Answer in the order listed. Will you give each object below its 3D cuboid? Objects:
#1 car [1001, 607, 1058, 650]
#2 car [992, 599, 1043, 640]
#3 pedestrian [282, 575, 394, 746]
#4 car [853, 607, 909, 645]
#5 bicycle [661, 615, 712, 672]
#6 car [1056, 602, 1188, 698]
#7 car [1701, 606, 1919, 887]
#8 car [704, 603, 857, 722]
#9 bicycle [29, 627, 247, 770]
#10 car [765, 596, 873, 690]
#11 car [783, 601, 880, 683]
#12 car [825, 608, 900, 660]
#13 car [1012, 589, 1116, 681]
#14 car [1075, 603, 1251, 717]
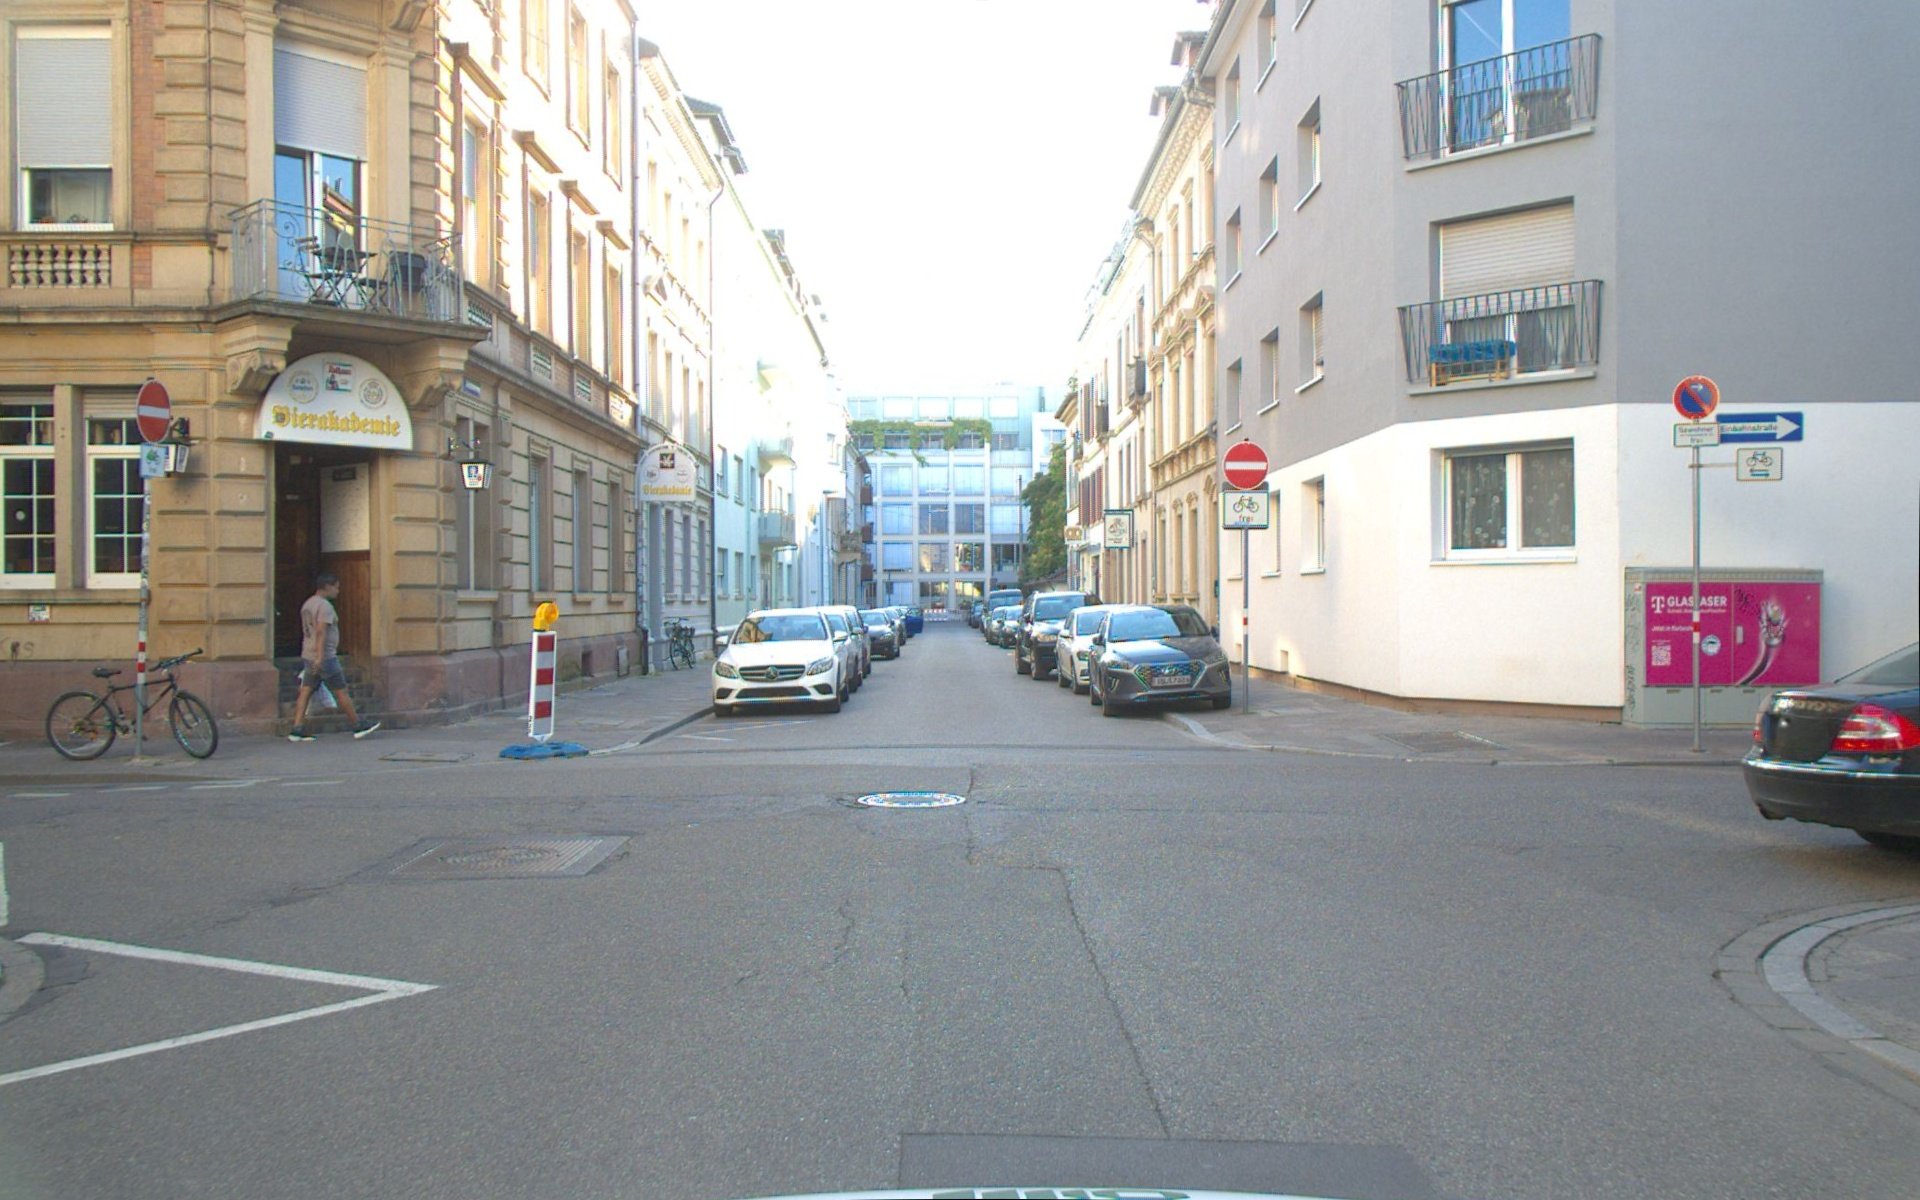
[{"bbox_3d":[2.491,1.005,60.144,1.952,1.476,4.000,0,0,0],"label":"car"},{"bbox_3d":[2.421,0.812,70.832,1.953,1.730,3.999,0,0,-1],"label":"car"},{"bbox_3d":[-6.704,0.623,17.813,1.002,1.773,0.975,0,0,-30],"label":"pedestrian"},{"bbox_3d":[-3.113,0.992,65.216,2.129,1.443,3.998,0,0,-3],"label":"car"},{"bbox_3d":[-5.922,0.928,35.886,0.722,1.181,2.461,0,0,-1],"label":"bicycle"},{"bbox_3d":[2.820,0.832,29.600,1.924,1.584,3.888,0,0,-1],"label":"car"},{"bbox_3d":[6.929,0.747,9.368,4.615,1.433,1.891,0,0,2],"label":"car"},{"bbox_3d":[-2.586,0.853,24.765,1.953,1.591,4.504,0,0,-2],"label":"car"},{"bbox_3d":[-7.892,0.933,15.931,1.723,1.297,0.660,0,3,-4],"label":"bicycle"},{"bbox_3d":[-2.514,0.733,30.197,1.591,1.604,3.754,0,0,1],"label":"car"},{"bbox_3d":[-2.742,0.864,35.933,1.748,1.688,3.817,0,0,1],"label":"car"},{"bbox_3d":[-2.733,0.928,47.190,1.953,1.378,4.428,0,0,-1],"label":"car"},{"bbox_3d":[2.142,0.701,35.009,1.855,1.815,3.999,0,0,-2],"label":"car"},{"bbox_3d":[2.786,0.786,23.528,1.899,1.396,3.787,-2,0,-2],"label":"car"}]
